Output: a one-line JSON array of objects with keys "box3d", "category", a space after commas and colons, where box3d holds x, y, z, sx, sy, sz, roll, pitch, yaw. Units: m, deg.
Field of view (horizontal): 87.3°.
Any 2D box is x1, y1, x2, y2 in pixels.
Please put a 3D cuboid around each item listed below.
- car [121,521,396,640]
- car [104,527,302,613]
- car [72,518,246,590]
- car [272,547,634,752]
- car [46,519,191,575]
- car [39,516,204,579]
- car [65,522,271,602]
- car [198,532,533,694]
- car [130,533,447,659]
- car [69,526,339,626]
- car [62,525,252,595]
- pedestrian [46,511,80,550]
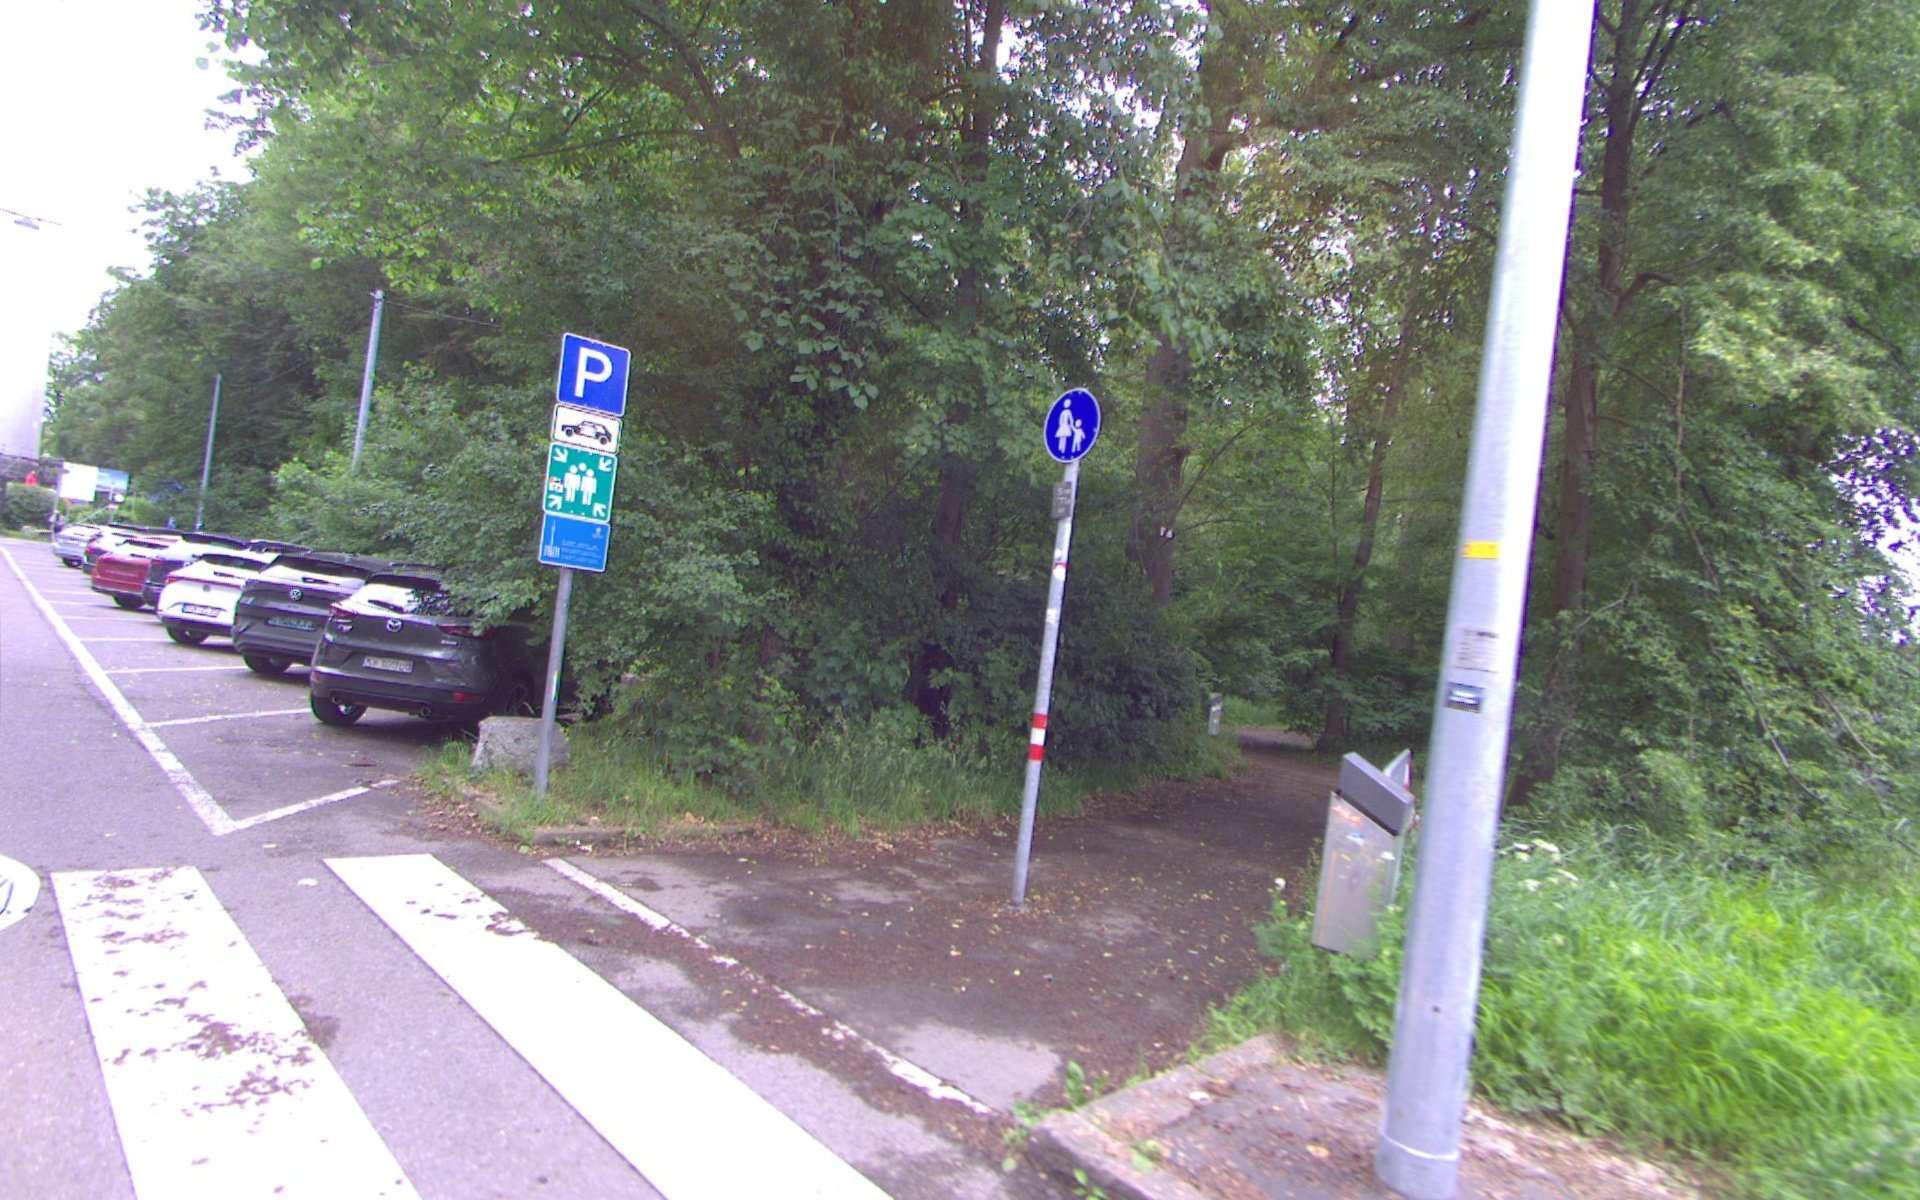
[{"box3d": [-12.621, -0.240, 18.490, 1.807, 1.636, 4.125, 8, -3, 4], "category": "car"}, {"box3d": [-17.720, -0.630, 23.777, 1.703, 1.521, 3.586, 8, -2, 3], "category": "car"}, {"box3d": [-25.414, -1.401, 32.153, 1.929, 1.655, 4.267, 8, -2, 1], "category": "car"}, {"box3d": [-4.897, 0.511, 10.405, 1.668, 1.508, 3.795, 8, -3, 0], "category": "car"}, {"box3d": [-32.616, -2.000, 39.164, 1.864, 1.478, 4.209, 8, -3, 1], "category": "car"}, {"box3d": [-27.851, -1.697, 33.616, 1.800, 1.483, 4.005, 8, -2, 5], "category": "car"}, {"box3d": [-20.169, -0.897, 25.896, 1.771, 1.474, 4.191, 8, -2, 1], "category": "car"}, {"box3d": [-7.680, 0.247, 13.603, 1.922, 1.597, 4.206, 8, -3, -1], "category": "car"}, {"box3d": [-10.136, 0.061, 15.656, 1.834, 1.454, 4.125, 8, -3, 4], "category": "car"}, {"box3d": [-15.185, -0.389, 20.579, 1.892, 1.429, 4.303, 8, -3, 5], "category": "car"}, {"box3d": [-22.806, -1.066, 28.826, 1.930, 1.393, 4.265, 8, -2, -1], "category": "car"}, {"box3d": [-43.017, -3.328, 48.244, 0.754, 1.744, 0.892, 8, -2, -23], "category": "pedestrian"}]
